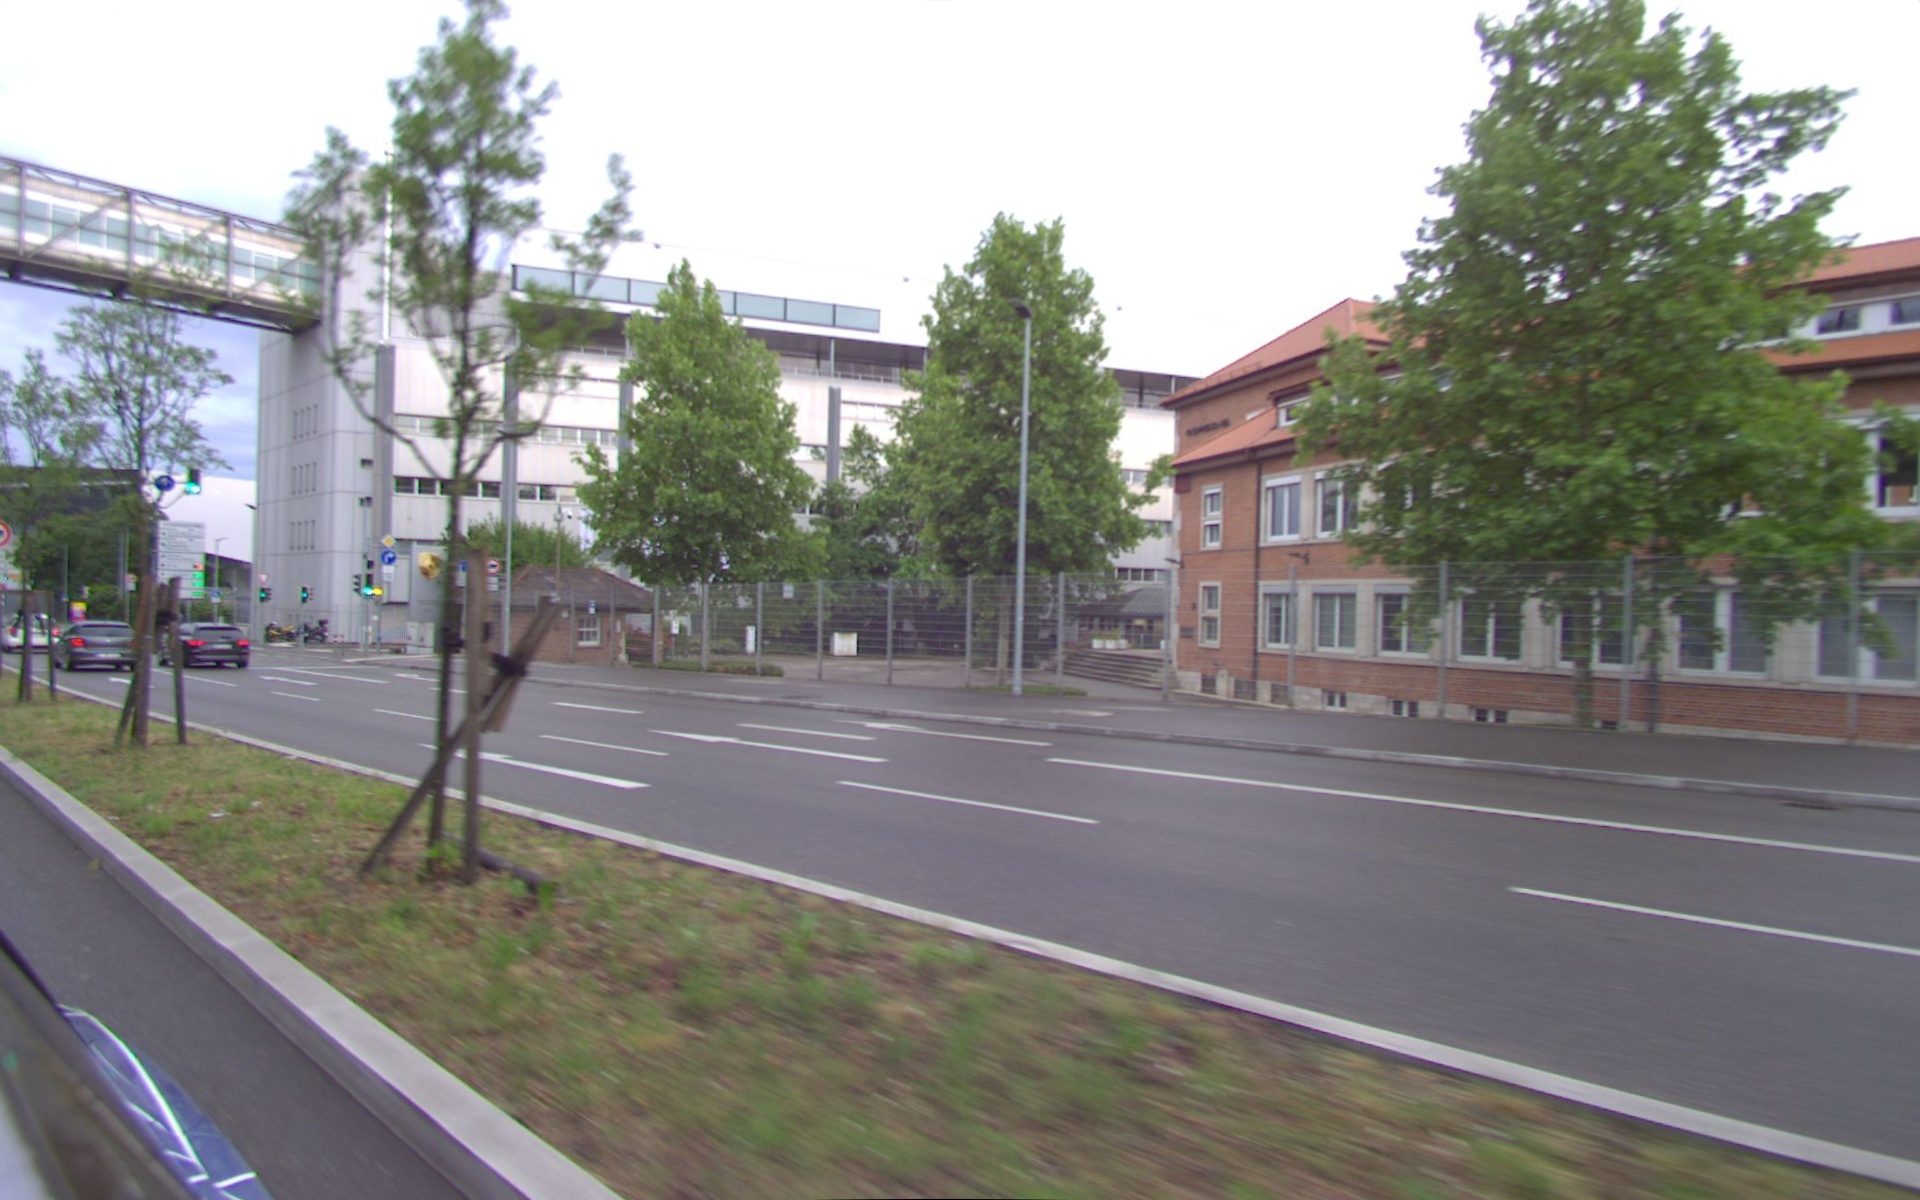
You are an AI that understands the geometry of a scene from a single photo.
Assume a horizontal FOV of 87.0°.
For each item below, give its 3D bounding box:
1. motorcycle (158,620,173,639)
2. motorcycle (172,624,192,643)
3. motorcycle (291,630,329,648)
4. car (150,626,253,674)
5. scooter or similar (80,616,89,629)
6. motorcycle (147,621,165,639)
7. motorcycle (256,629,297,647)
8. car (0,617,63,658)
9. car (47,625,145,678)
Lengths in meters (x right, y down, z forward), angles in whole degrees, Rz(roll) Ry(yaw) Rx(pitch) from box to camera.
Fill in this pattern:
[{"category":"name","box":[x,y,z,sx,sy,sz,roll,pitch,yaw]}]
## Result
[{"category":"motorcycle","box":[-54.886,2.052,69.915,0.617,1.277,2.173,0,-1,-43]},{"category":"motorcycle","box":[-51.130,2.207,66.511,2.037,1.171,0.561,0,-2,40]},{"category":"motorcycle","box":[-38.997,2.326,60.738,2.150,1.035,0.624,1,-2,15]},{"category":"car","box":[-24.577,1.594,32.725,4.613,1.414,1.754,-1,-3,42]},{"category":"scooter or similar","box":[-76.292,1.981,88.191,1.568,1.138,0.389,0,-3,42]},{"category":"motorcycle","box":[-57.080,2.109,71.854,1.967,1.224,0.618,0,-3,42]},{"category":"motorcycle","box":[-41.271,2.309,61.115,2.144,1.035,0.625,1,-2,7]},{"category":"car","box":[-38.653,1.521,41.914,4.485,1.602,1.752,0,-3,43]},{"category":"car","box":[-25.181,1.474,29.454,4.110,1.414,1.561,-1,-3,42]}]
